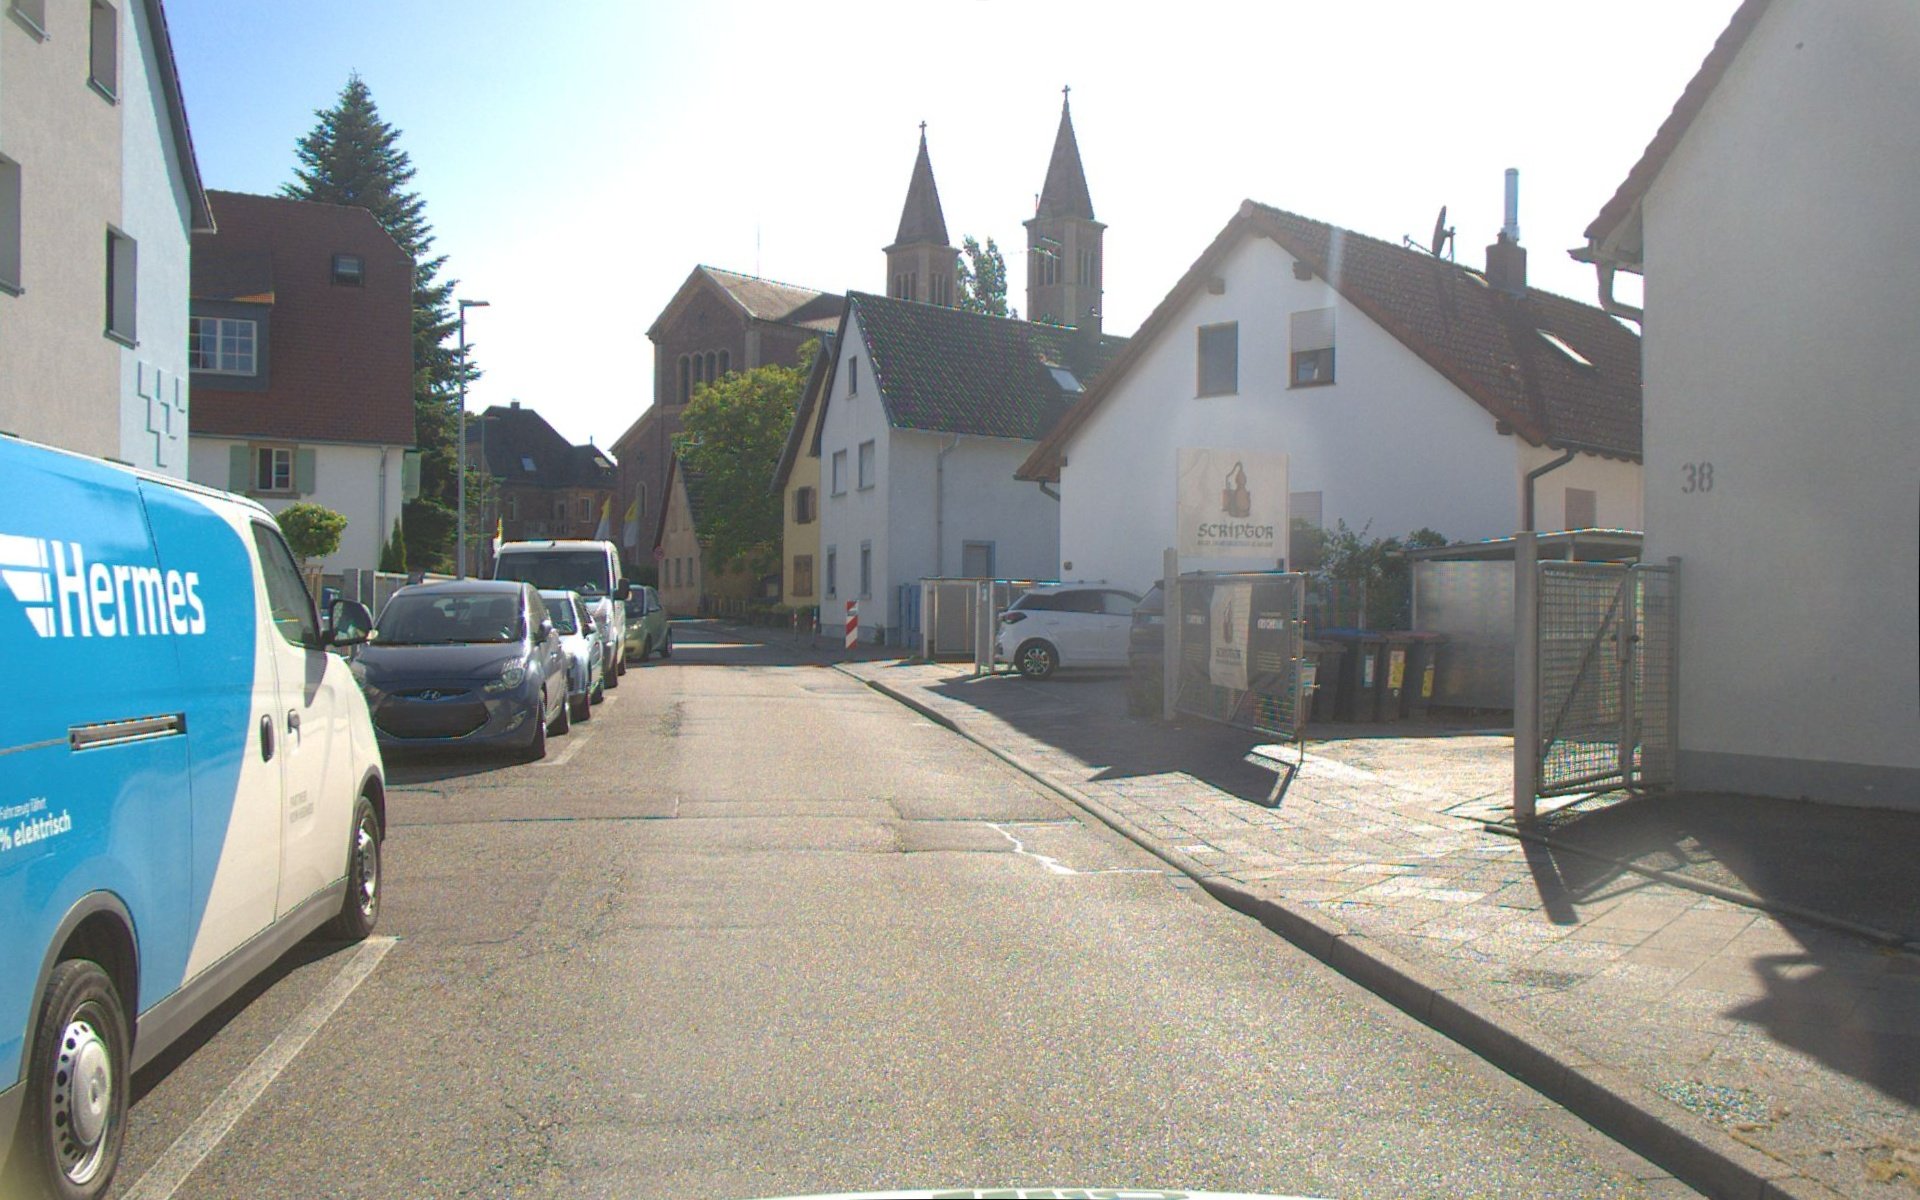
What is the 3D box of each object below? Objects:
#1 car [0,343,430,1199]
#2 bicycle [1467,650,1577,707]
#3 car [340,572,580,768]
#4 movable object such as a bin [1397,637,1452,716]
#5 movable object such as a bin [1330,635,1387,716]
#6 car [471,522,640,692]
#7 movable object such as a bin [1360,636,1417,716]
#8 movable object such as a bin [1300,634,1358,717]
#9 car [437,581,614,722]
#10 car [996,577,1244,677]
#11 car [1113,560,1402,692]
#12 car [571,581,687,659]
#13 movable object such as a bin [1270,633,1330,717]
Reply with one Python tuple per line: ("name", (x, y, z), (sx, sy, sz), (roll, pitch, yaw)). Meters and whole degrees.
("car", (-3.085, 0.485, 5.248), (1.867, 1.951, 5.059), (-1, 0, -9))
("bicycle", (7.246, 1.002, 21.371), (0.367, 0.668, 1.346), (0, 1, -42))
("car", (-4.675, 0.560, 15.967), (1.683, 1.626, 3.917), (-1, 1, -9))
("movable object such as a bin", (5.725, 0.943, 20.404), (0.511, 0.939, 0.417), (3, -1, -39))
("movable object such as a bin", (4.732, 0.894, 19.632), (0.511, 0.939, 0.417), (3, -1, -39))
("car", (-6.523, 0.057, 27.343), (2.156, 2.431, 6.051), (-2, 1, -9))
("movable object such as a bin", (5.189, 0.917, 20.029), (0.511, 0.939, 0.417), (3, -1, -39))
("movable object such as a bin", (4.309, 0.877, 19.298), (0.511, 0.939, 0.417), (3, -1, -39))
("car", (-5.262, 0.547, 20.487), (1.680, 1.530, 4.226), (-1, 1, -9))
("car", (2.523, 0.412, 26.792), (3.832, 1.518, 1.847), (-1, 0, -1))
("car", (4.276, 0.298, 23.546), (4.007, 1.718, 1.886), (-1, 1, -38))
("car", (-6.890, 0.381, 34.695), (1.540, 1.573, 2.968), (0, 1, 6))
("movable object such as a bin", (3.893, 0.857, 18.920), (0.511, 0.939, 0.417), (3, -1, -37))
